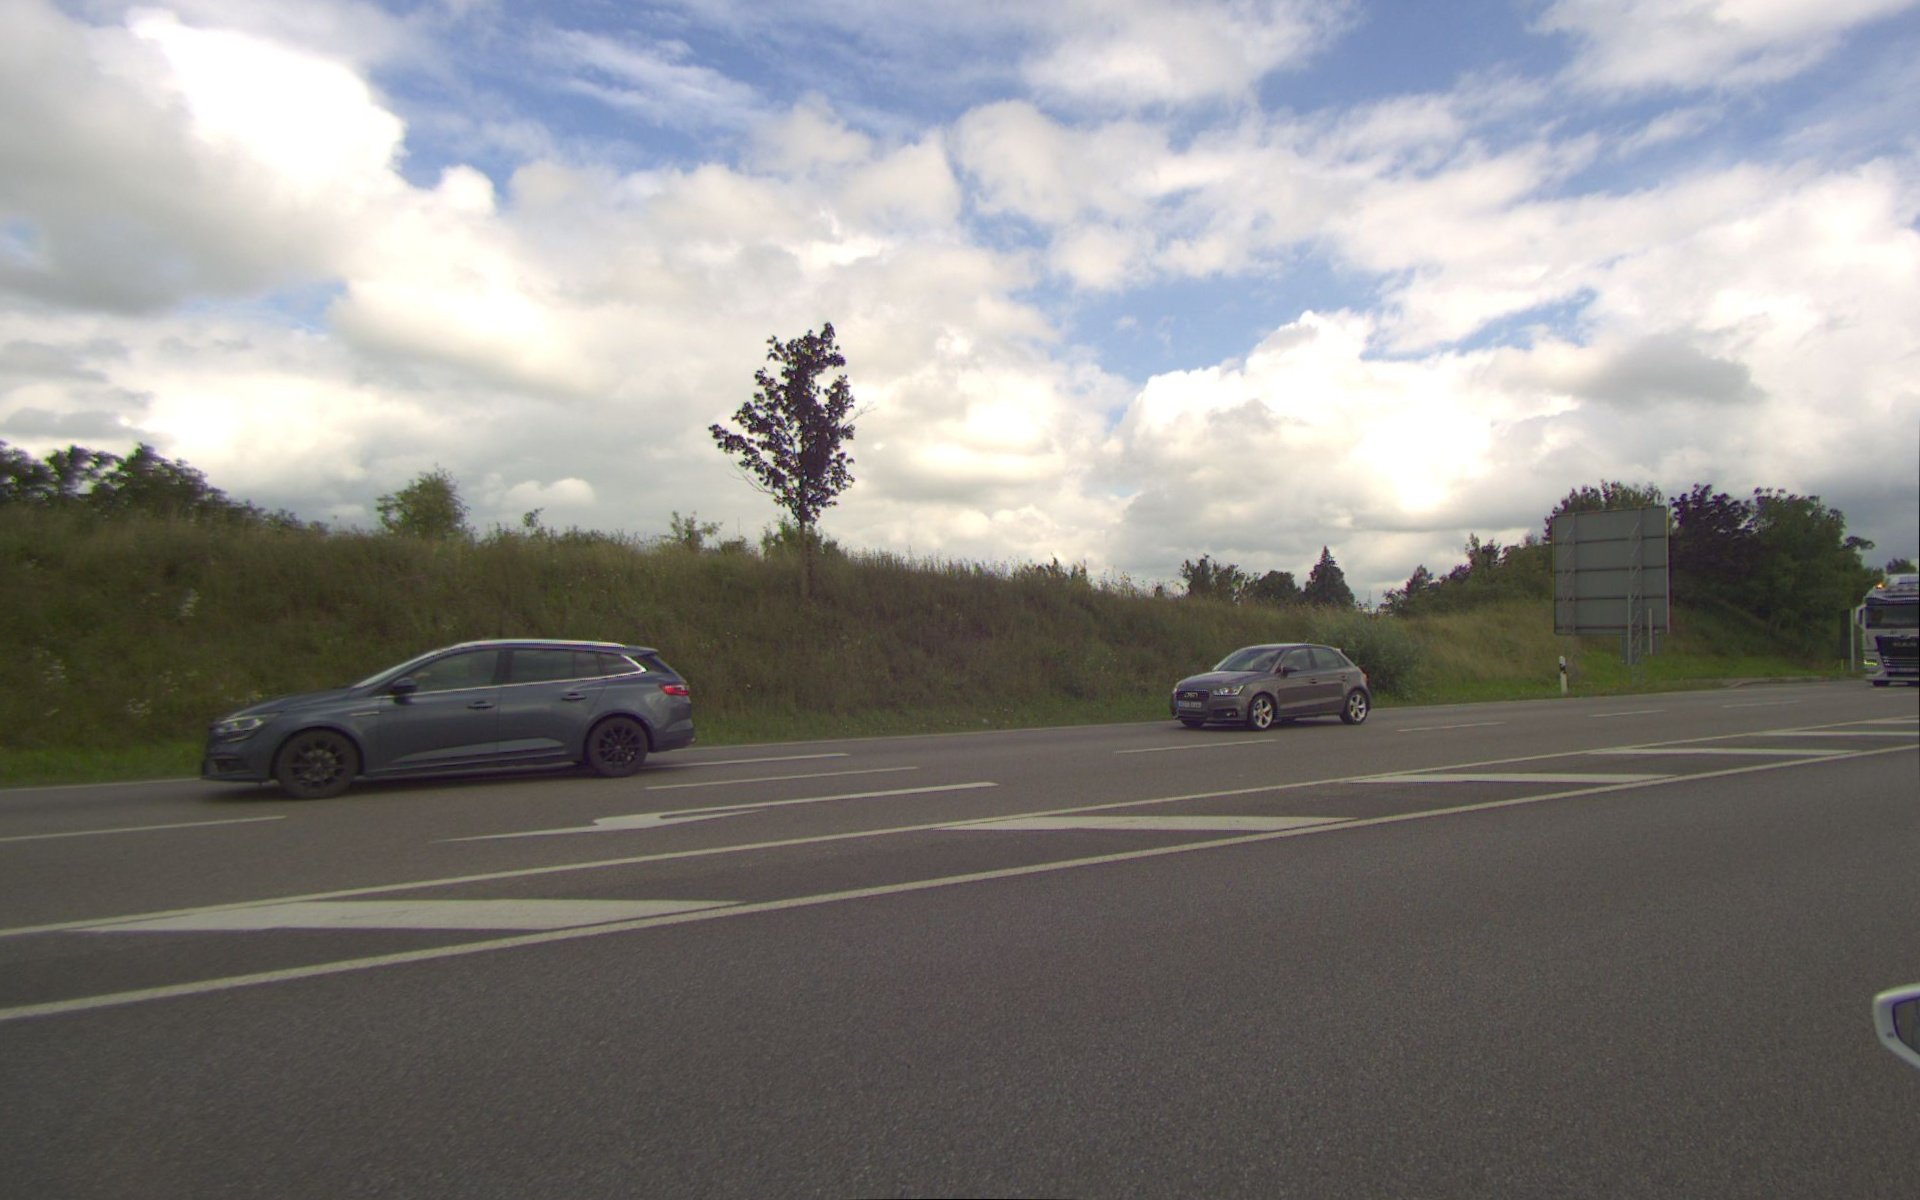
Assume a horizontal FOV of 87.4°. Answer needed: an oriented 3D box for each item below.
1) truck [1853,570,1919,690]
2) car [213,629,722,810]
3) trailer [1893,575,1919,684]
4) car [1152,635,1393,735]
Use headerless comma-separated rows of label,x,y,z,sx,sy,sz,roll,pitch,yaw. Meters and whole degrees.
truck,34.397,1.045,35.576,5.227,4.050,2.788,1,-1,-32
car,-4.965,1.099,10.594,4.498,1.550,1.723,1,-3,-32
trailer,40.894,1.180,39.705,12.842,3.999,2.760,1,-1,-33
car,5.470,1.396,17.475,4.147,1.550,1.723,1,-3,-32
